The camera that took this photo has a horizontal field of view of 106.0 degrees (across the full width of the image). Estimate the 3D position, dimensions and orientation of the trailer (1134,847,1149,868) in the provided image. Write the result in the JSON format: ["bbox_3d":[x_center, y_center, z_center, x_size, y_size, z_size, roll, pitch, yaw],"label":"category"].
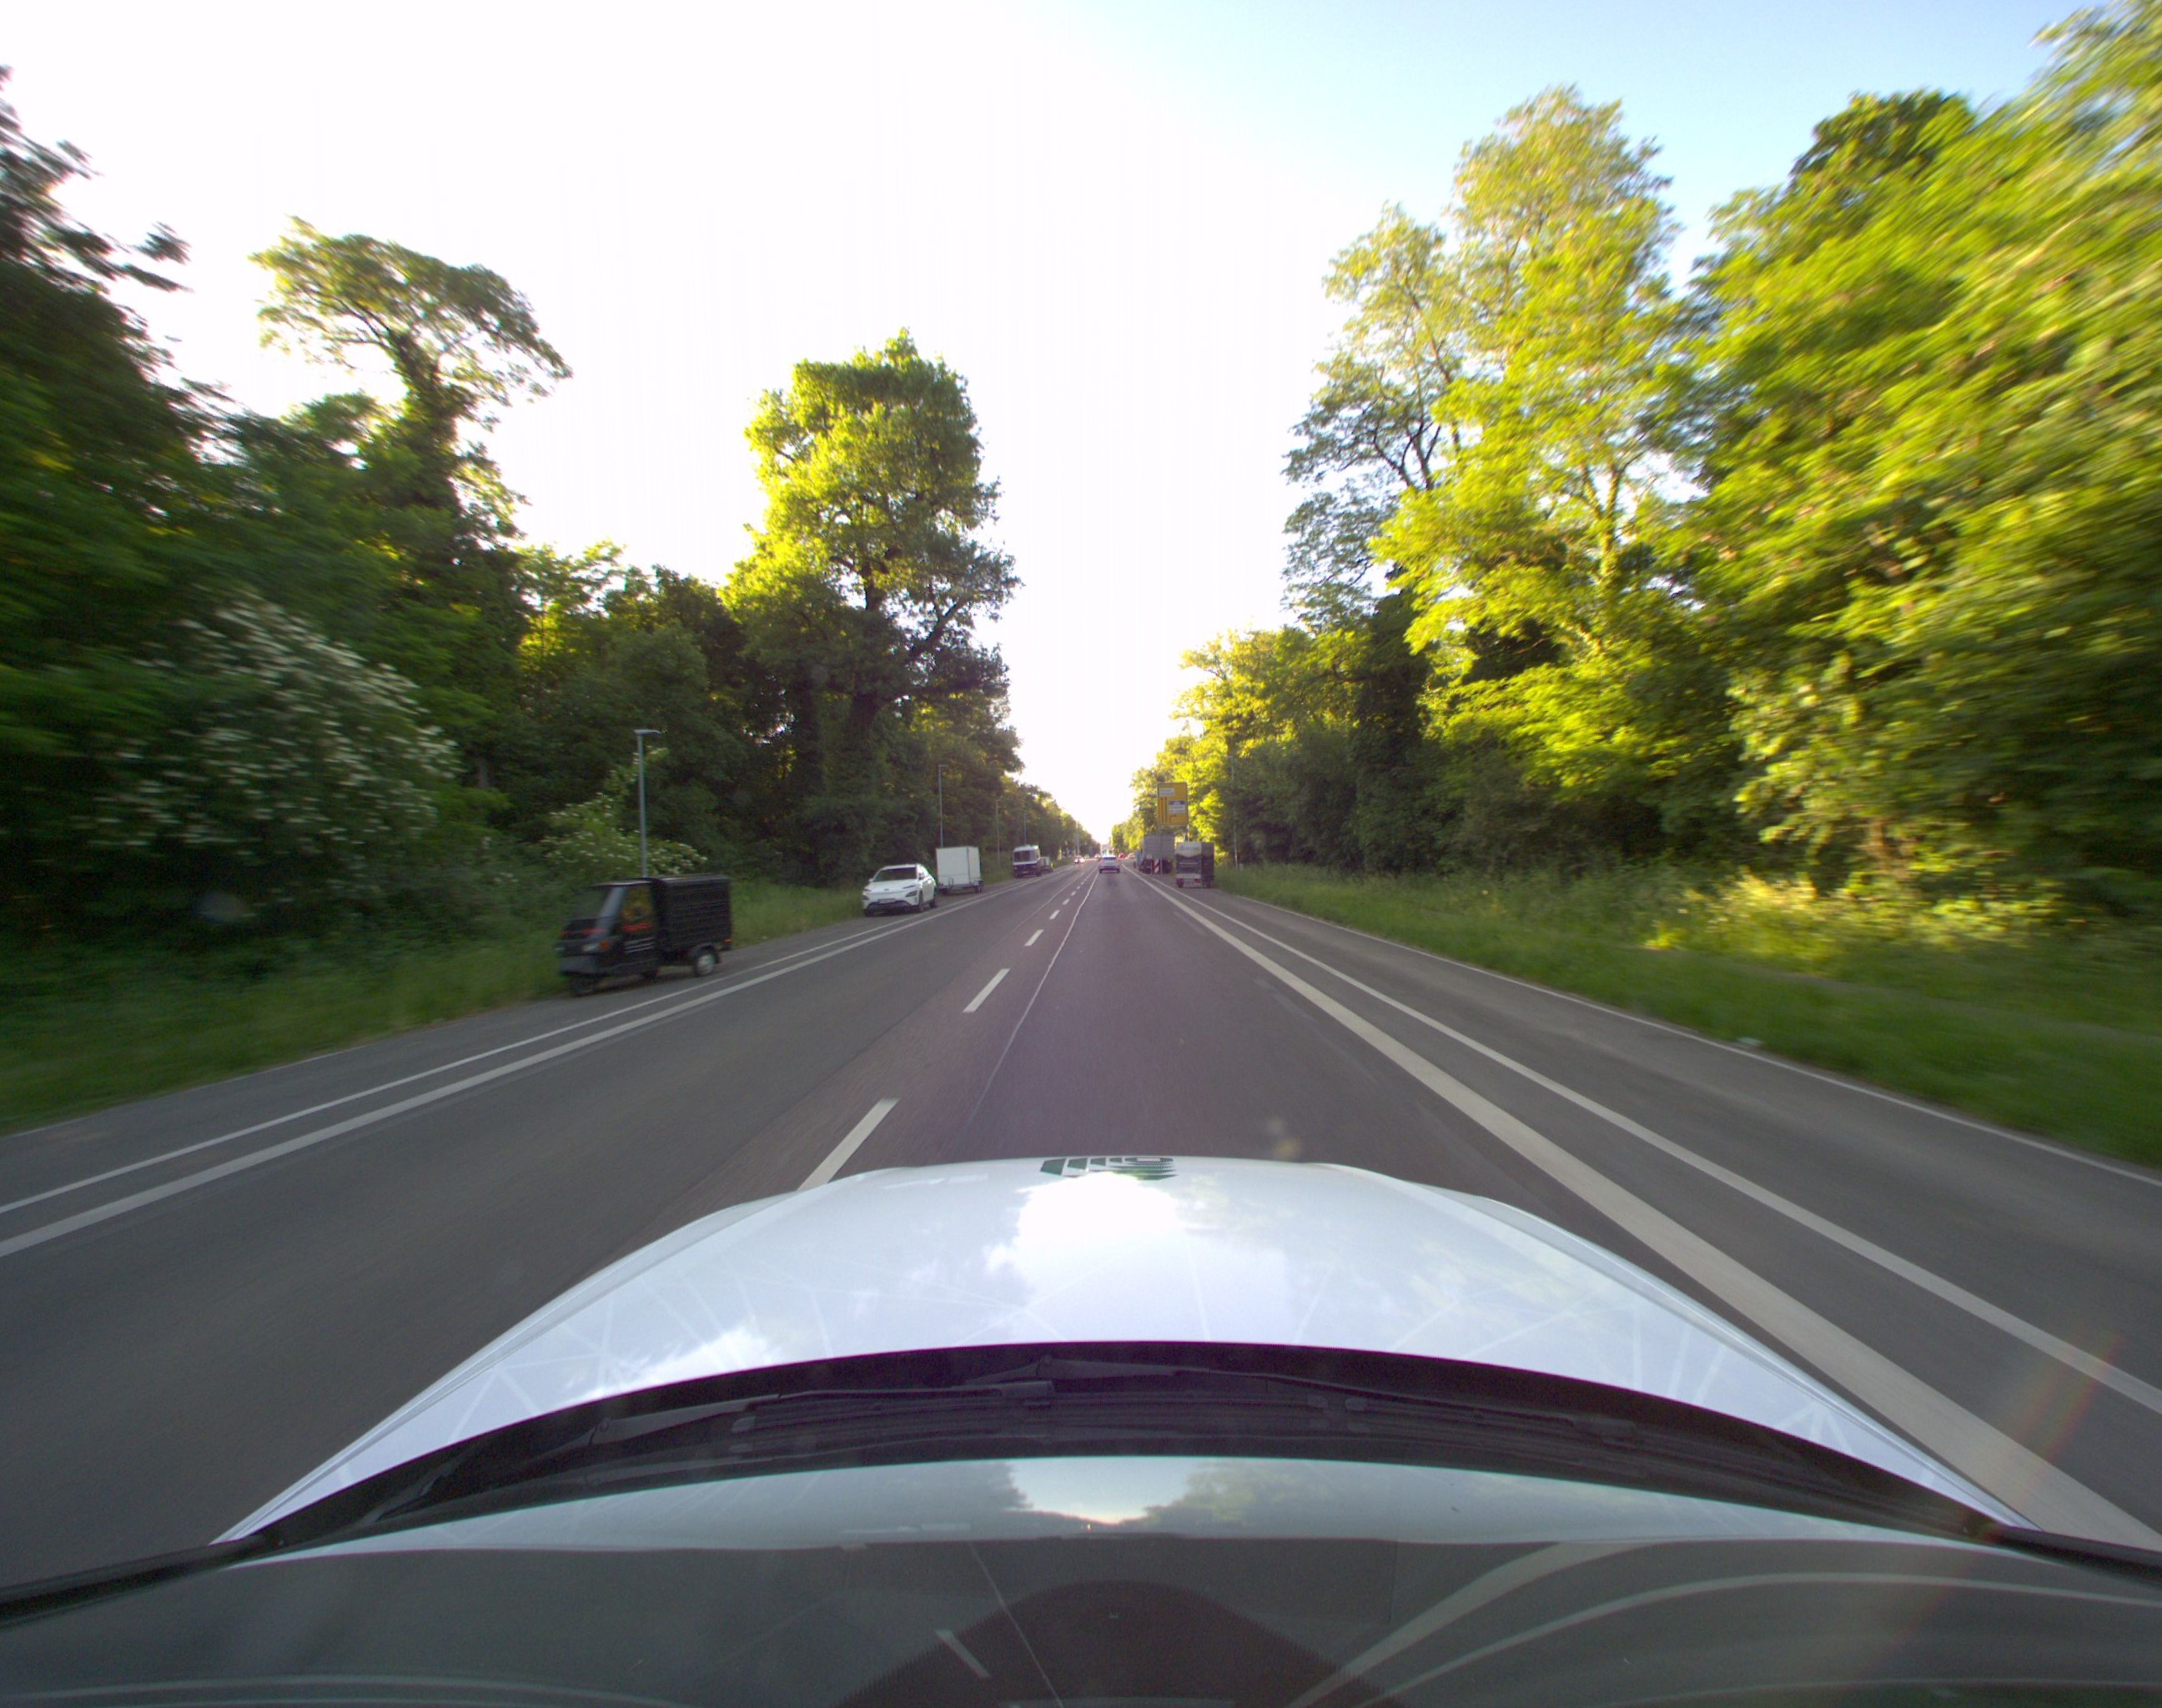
[{"bbox_3d":[6.747,0.411,91.034,1.494,2.235,4.552,0,0,2],"label":"trailer"}]

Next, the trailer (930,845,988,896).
[{"bbox_3d":[-6.002,0.787,40.479,2.066,2.293,3.490,-3,0,4],"label":"trailer"}]

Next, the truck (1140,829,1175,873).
[{"bbox_3d":[6.295,-0.224,67.801,2.495,3.366,7.111,-1,0,2],"label":"truck"}]

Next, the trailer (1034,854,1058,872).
[{"bbox_3d":[-3.605,0.911,84.623,1.459,1.659,3.379,-4,-1,14],"label":"trailer"}]

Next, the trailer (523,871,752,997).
[{"bbox_3d":[-6.480,1.095,12.163,1.383,1.574,2.689,-2,0,22],"label":"trailer"}]

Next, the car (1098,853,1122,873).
[{"bbox_3d":[2.560,0.746,71.118,1.986,1.640,4.002,-2,0,2],"label":"car"}]

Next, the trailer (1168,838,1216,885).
[{"bbox_3d":[5.202,0.344,37.882,1.600,2.112,2.409,-1,0,22],"label":"trailer"}]

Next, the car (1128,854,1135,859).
[{"bbox_3d":[14.904,0.787,240.572,1.985,1.618,4.003,-1,0,3],"label":"car"}]

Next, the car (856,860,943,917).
[{"bbox_3d":[-5.891,1.070,26.946,1.808,1.571,4.206,-4,0,0],"label":"car"}]

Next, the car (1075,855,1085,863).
[{"bbox_3d":[-0.248,1.008,159.724,1.672,1.415,4.002,-2,0,2],"label":"car"}]

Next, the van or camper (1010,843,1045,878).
[{"bbox_3d":[-4.626,0.559,70.971,2.293,2.768,5.559,-4,0,2],"label":"van or camper"}]
